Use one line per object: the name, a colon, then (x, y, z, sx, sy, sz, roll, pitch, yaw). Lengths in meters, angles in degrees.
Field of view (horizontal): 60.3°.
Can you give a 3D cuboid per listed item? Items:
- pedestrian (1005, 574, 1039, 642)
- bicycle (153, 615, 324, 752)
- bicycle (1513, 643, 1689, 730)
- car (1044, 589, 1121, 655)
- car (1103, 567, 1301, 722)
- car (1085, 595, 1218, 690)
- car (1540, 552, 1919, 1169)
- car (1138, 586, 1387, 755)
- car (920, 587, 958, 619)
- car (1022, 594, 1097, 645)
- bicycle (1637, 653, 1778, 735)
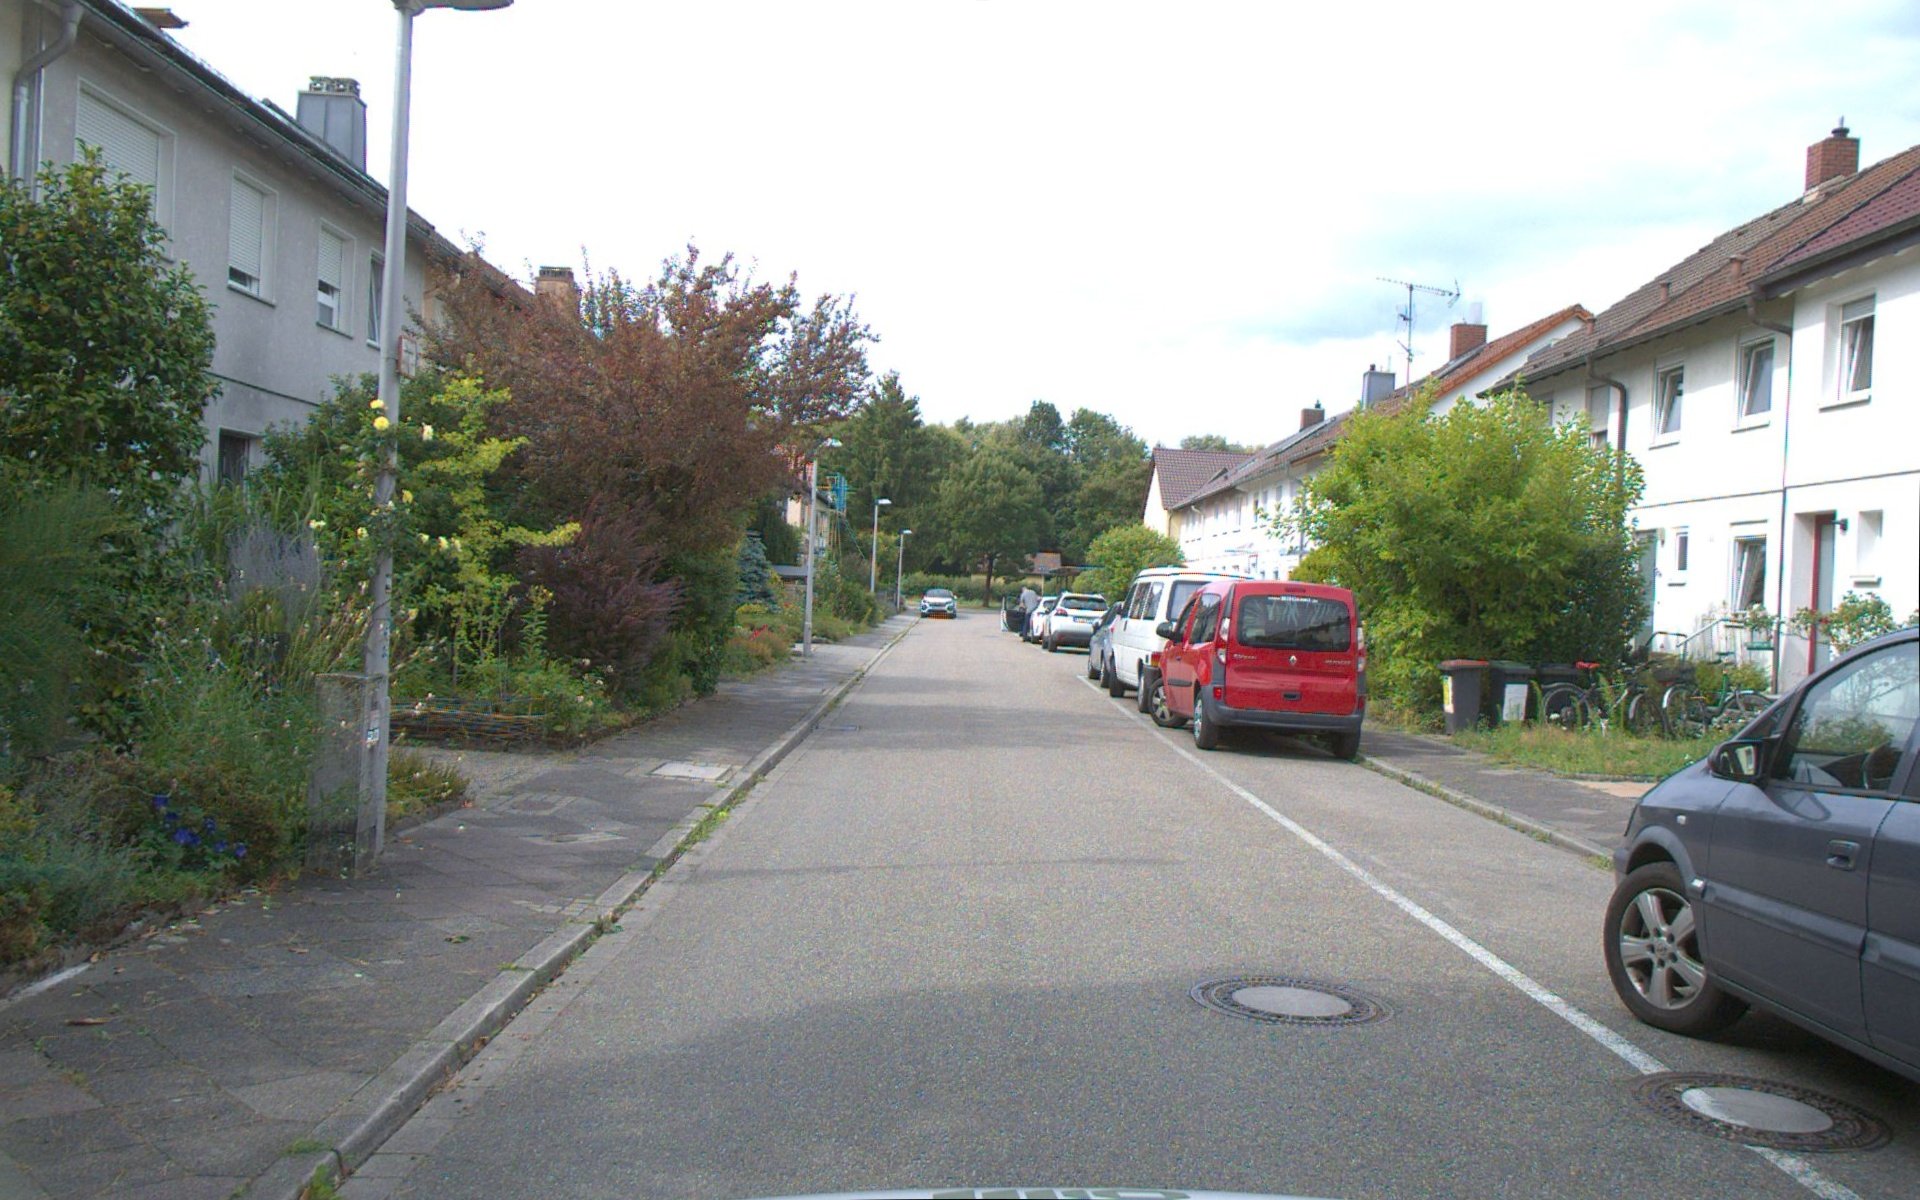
pedestrian: (1.913, 0.227, 51.238, 0.894, 2.048, 0.950, 2, 1, -3)
bicycle: (-5.551, 0.610, 12.690, 1.672, 0.908, 0.526, 3, 1, 41)
bicycle: (7.506, 1.011, 19.405, 1.839, 0.924, 0.560, 2, 0, -3)
car: (3.203, 0.548, 43.981, 1.679, 1.570, 3.973, 4, 0, 0)
car: (3.395, 0.559, 24.148, 1.980, 1.981, 4.745, 2, 0, -2)
car: (3.307, 0.690, 29.252, 1.861, 1.485, 4.129, 2, 0, 0)
car: (3.543, 0.744, 4.980, 1.830, 1.682, 4.462, 2, 0, -2)
car: (3.339, 0.706, 19.149, 1.775, 1.679, 4.407, 2, 0, -4)
car: (-1.122, 0.135, 88.578, 1.894, 1.583, 4.634, 2, 0, 0)
car: (3.032, 0.563, 51.350, 1.801, 1.437, 4.634, 2, 0, -3)
bicycle: (8.719, 1.080, 19.289, 1.571, 0.881, 0.738, 2, 0, -32)
